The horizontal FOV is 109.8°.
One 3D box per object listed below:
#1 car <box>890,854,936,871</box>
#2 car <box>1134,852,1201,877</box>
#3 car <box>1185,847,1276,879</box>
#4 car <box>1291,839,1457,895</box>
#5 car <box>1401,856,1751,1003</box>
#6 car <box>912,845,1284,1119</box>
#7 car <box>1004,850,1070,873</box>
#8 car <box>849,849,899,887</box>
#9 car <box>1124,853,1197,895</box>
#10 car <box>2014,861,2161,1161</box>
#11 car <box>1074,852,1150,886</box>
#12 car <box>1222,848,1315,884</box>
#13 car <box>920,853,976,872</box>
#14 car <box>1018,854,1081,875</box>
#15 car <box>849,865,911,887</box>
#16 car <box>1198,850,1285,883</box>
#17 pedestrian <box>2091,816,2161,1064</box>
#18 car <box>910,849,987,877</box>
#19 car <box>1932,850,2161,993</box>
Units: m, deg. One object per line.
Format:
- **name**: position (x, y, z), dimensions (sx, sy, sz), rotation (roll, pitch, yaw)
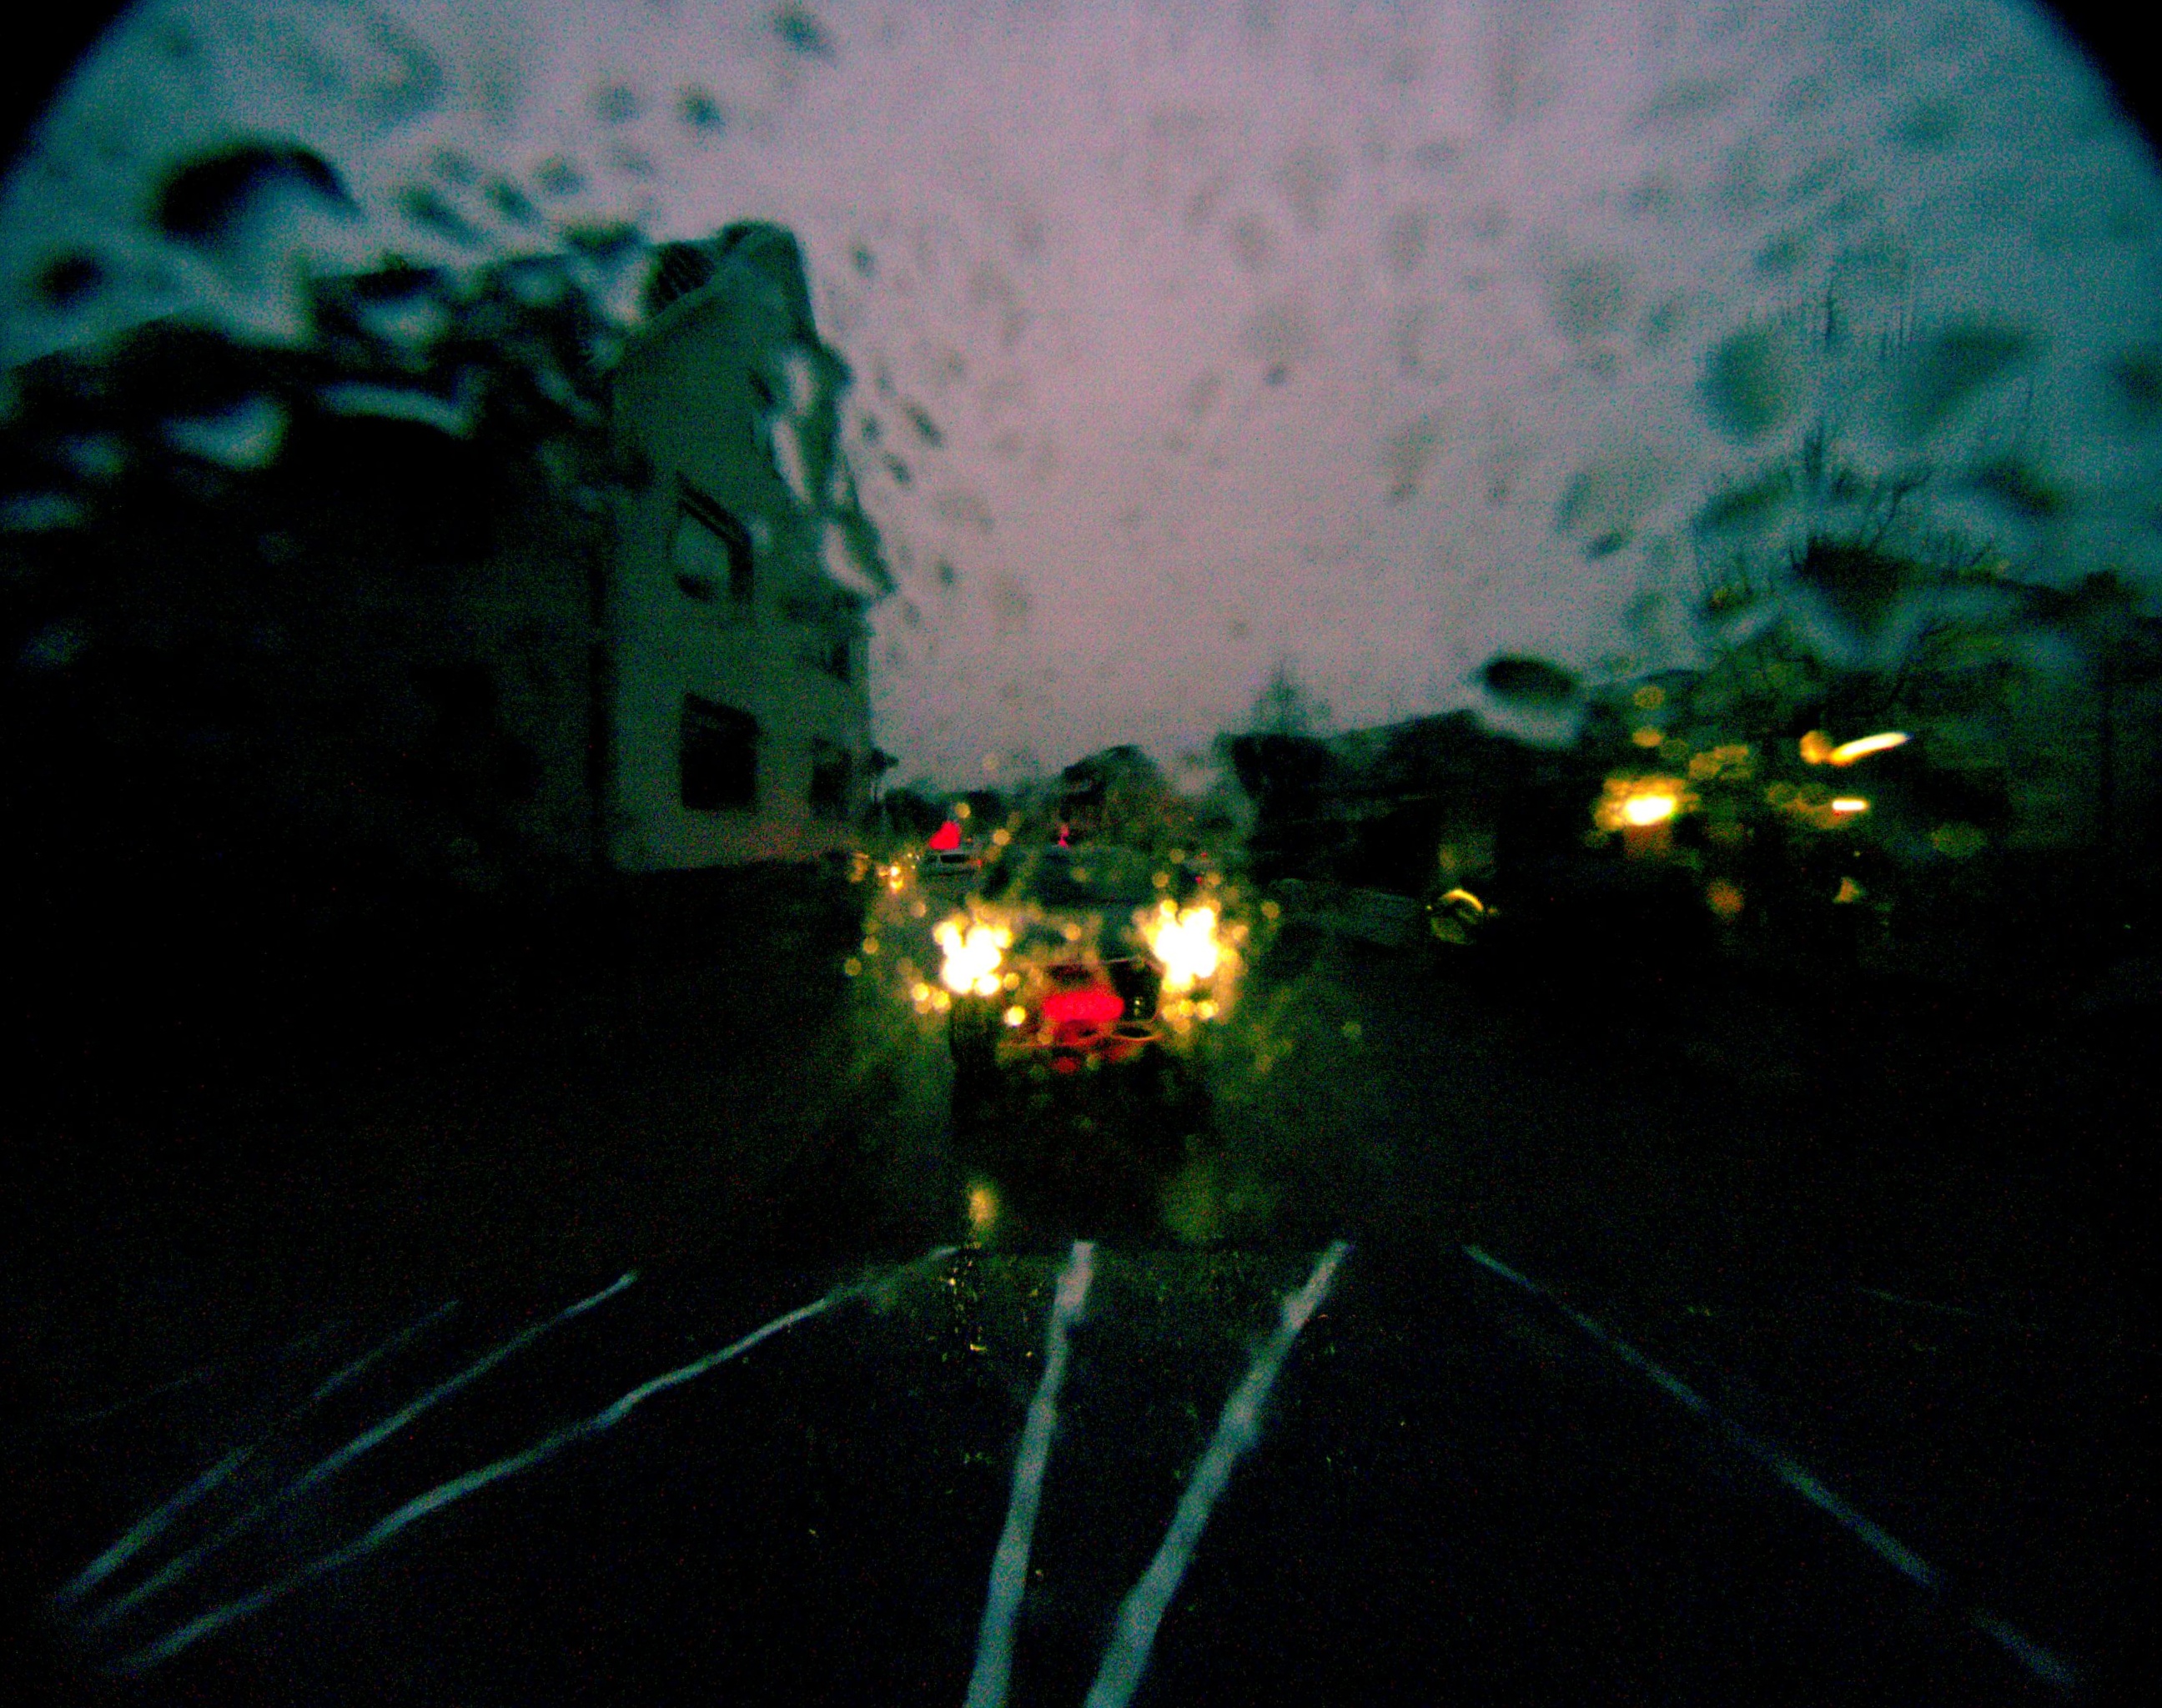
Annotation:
- **car**: position (-17.985, 0.907, 81.202), dimensions (4.435, 1.790, 1.840), rotation (-1, 0, -30)
- **car**: position (5.339, 0.638, 47.137), dimensions (4.069, 1.451, 1.758), rotation (-1, 1, 4)
- **car**: position (7.884, 0.476, 40.427), dimensions (4.649, 1.644, 1.989), rotation (0, 1, 9)
- **car**: position (10.402, 0.432, 27.452), dimensions (5.387, 1.874, 2.076), rotation (0, 0, 16)
- **car**: position (6.208, 0.805, 10.308), dimensions (1.751, 1.464, 4.457), rotation (-2, 0, -1)
- **car**: position (-0.002, 0.768, 7.232), dimensions (2.270, 1.633, 5.064), rotation (-1, 0, -3)
- **car**: position (-3.317, 0.568, 57.314), dimensions (4.456, 1.623, 2.150), rotation (-1, 1, -29)
- **car**: position (-11.444, 0.728, 41.841), dimensions (1.982, 1.948, 4.842), rotation (-1, 0, -23)
- **car**: position (3.174, 0.765, 30.964), dimensions (1.840, 1.527, 3.671), rotation (-2, 1, -13)
- **car**: position (6.458, 0.808, 2.651), dimensions (1.697, 1.507, 3.772), rotation (-2, 0, -2)
- **car**: position (1.454, 0.728, 37.266), dimensions (1.913, 1.524, 4.247), rotation (-2, 0, -26)
- **car**: position (8.532, 0.547, 34.785), dimensions (3.993, 1.521, 2.002), rotation (-1, 0, 13)
- **car**: position (-12.813, 0.807, 73.015), dimensions (4.888, 1.674, 1.996), rotation (-1, -1, -28)
- **car**: position (-2.579, 0.903, 62.127), dimensions (4.775, 1.625, 1.997), rotation (1, -1, -21)
- **car**: position (-14.591, 1.615, 55.111), dimensions (4.103, 1.496, 1.893), rotation (-1, 1, 27)
- **car**: position (7.872, 0.576, 37.625), dimensions (4.107, 1.573, 1.722), rotation (0, 1, 9)
- **pedestrian**: position (8.429, 0.637, 5.526), dimensions (0.755, 1.856, 1.060), rotation (-1, 1, 1)
- **car**: position (-10.312, 0.730, 59.626), dimensions (5.779, 1.934, 1.989), rotation (-2, 0, -8)
- **car**: position (12.486, 0.705, 8.171), dimensions (4.078, 1.468, 1.742), rotation (0, 0, 23)
